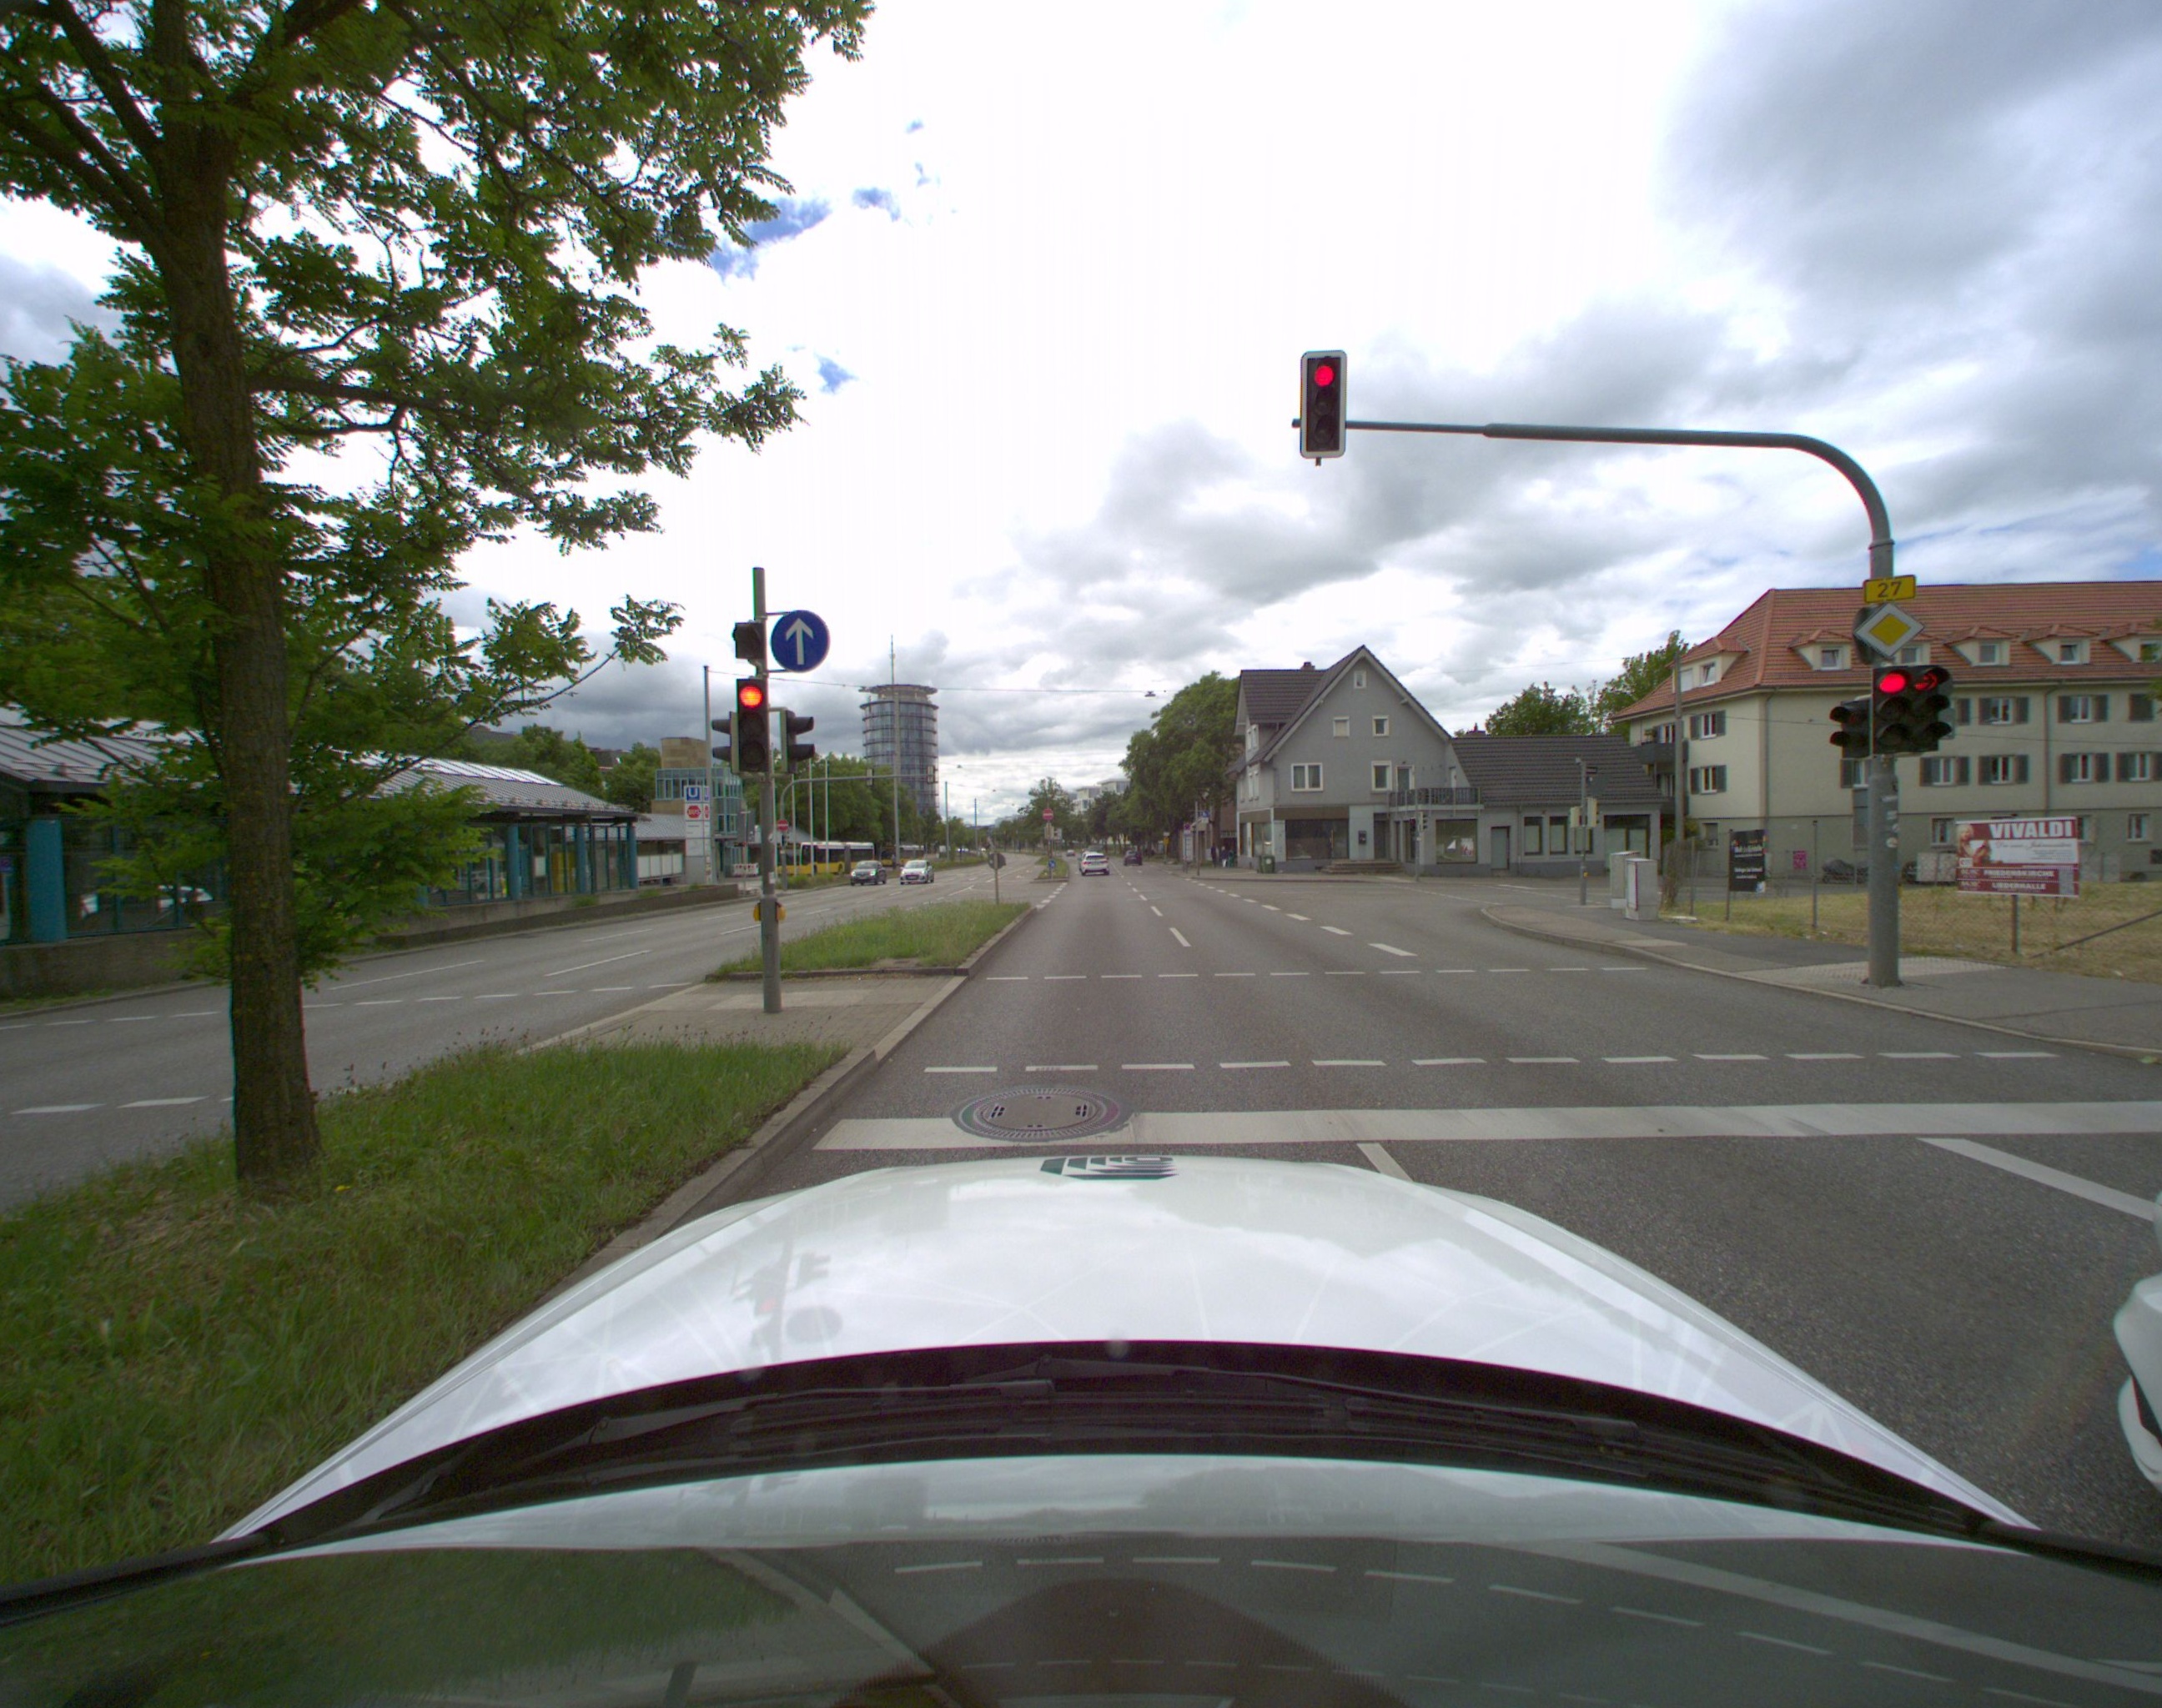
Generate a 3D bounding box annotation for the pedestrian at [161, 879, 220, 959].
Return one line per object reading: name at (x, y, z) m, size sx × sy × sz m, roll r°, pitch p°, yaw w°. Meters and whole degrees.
pedestrian at (-20.576, 1.480, 18.829) m, size 0.528 × 1.762 × 0.754 m, roll -2°, pitch 0°, yaw -6°

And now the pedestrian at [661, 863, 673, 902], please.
pedestrian at (-17.256, 1.175, 33.961) m, size 0.420 × 1.591 × 0.353 m, roll -2°, pitch 0°, yaw -28°

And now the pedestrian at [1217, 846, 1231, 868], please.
pedestrian at (10.067, 0.188, 57.256) m, size 0.698 × 1.507 × 0.875 m, roll -2°, pitch 0°, yaw 26°

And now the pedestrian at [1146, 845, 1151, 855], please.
pedestrian at (10.900, -0.610, 131.668) m, size 0.649 × 1.570 × 0.669 m, roll -2°, pitch 0°, yaw -6°

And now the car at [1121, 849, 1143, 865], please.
car at (5.074, 0.315, 81.420) m, size 1.882 × 1.494 × 4.099 m, roll -3°, pitch -1°, yaw 1°

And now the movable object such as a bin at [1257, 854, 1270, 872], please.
movable object such as a bin at (10.039, 0.505, 44.748) m, size 0.527 × 0.979 × 0.737 m, roll -2°, pitch 0°, yaw 2°

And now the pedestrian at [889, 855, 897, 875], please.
pedestrian at (-18.715, 1.072, 80.931) m, size 0.660 × 1.897 × 0.684 m, roll -2°, pitch 0°, yaw -6°

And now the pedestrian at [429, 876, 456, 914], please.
pedestrian at (-27.220, 1.753, 34.719) m, size 0.631 × 1.571 × 0.663 m, roll 0°, pitch -1°, yaw 7°

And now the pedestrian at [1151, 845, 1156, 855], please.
pedestrian at (11.721, -0.636, 131.624) m, size 0.649 × 1.570 × 0.669 m, roll -2°, pitch 0°, yaw -6°

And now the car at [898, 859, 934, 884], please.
car at (-10.339, 1.058, 51.323) m, size 1.680 × 1.462 × 3.552 m, roll -2°, pitch 0°, yaw -3°

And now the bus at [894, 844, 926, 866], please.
bus at (-26.036, 0.125, 124.327) m, size 3.134 × 3.225 × 7.765 m, roll -2°, pitch 0°, yaw 0°

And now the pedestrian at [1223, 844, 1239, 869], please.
pedestrian at (10.989, 0.161, 59.779) m, size 0.868 × 1.780 × 0.704 m, roll -2°, pitch 0°, yaw -14°

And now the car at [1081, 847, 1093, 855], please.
car at (1.292, -0.556, 174.107) m, size 2.246 × 1.647 × 4.927 m, roll -2°, pitch 0°, yaw -3°

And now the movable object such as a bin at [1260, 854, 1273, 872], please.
movable object such as a bin at (10.032, 0.478, 43.957) m, size 0.527 × 0.979 × 0.737 m, roll -2°, pitch 0°, yaw 2°

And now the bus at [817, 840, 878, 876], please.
bus at (-23.351, 0.372, 81.868) m, size 2.975 × 3.270 × 7.889 m, roll -2°, pitch 0°, yaw 6°

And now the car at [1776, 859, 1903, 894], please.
car at (34.042, 0.986, 36.615) m, size 3.972 × 1.537 × 1.871 m, roll 0°, pitch 0°, yaw 2°

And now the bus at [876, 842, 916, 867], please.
bus at (-26.094, 0.100, 115.318) m, size 3.135 × 3.225 × 10.282 m, roll -2°, pitch 0°, yaw 0°

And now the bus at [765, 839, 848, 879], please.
bus at (-24.323, 0.406, 72.869) m, size 2.975 × 3.250 × 10.186 m, roll -2°, pitch 0°, yaw 6°

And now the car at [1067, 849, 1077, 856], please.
car at (-1.908, -0.354, 173.473) m, size 1.963 × 1.420 × 4.017 m, roll -2°, pitch 0°, yaw -3°

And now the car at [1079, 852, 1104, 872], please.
car at (0.881, 0.609, 66.204) m, size 1.815 × 1.540 × 4.118 m, roll -2°, pitch 0°, yaw 3°

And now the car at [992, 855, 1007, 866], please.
car at (-11.240, 0.895, 112.381) m, size 1.696 × 1.492 × 3.562 m, roll -2°, pitch 0°, yaw 1°

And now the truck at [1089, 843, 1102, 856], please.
truck at (2.757, -0.816, 156.671) m, size 2.246 × 2.416 × 4.928 m, roll -1°, pitch 0°, yaw -3°

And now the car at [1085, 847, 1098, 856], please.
car at (2.099, -0.472, 165.285) m, size 2.246 × 1.757 × 4.928 m, roll -2°, pitch 0°, yaw -3°

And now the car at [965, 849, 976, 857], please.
car at (-27.256, -0.171, 201.218) m, size 1.958 × 2.014 × 4.001 m, roll 0°, pitch -1°, yaw 2°

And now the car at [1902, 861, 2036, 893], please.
car at (39.811, 1.023, 36.577) m, size 3.972 × 1.377 × 1.871 m, roll 0°, pitch 0°, yaw 2°

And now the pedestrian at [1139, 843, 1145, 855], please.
pedestrian at (10.610, -0.854, 142.578) m, size 0.967 × 2.014 × 0.981 m, roll 0°, pitch -1°, yaw 1°

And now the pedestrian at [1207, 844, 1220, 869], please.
pedestrian at (9.439, 0.165, 57.941) m, size 0.699 × 1.780 × 0.875 m, roll -2°, pitch 0°, yaw 22°

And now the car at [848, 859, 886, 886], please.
car at (-13.492, 1.149, 51.534) m, size 1.681 × 1.578 × 3.344 m, roll -2°, pitch 0°, yaw -4°

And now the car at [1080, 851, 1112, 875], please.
car at (1.070, 0.591, 54.619) m, size 1.986 × 1.477 × 4.259 m, roll -2°, pitch 0°, yaw 2°

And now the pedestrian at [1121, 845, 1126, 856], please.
pedestrian at (8.898, -0.808, 170.364) m, size 0.930 × 2.308 × 1.008 m, roll 0°, pitch -1°, yaw -8°
